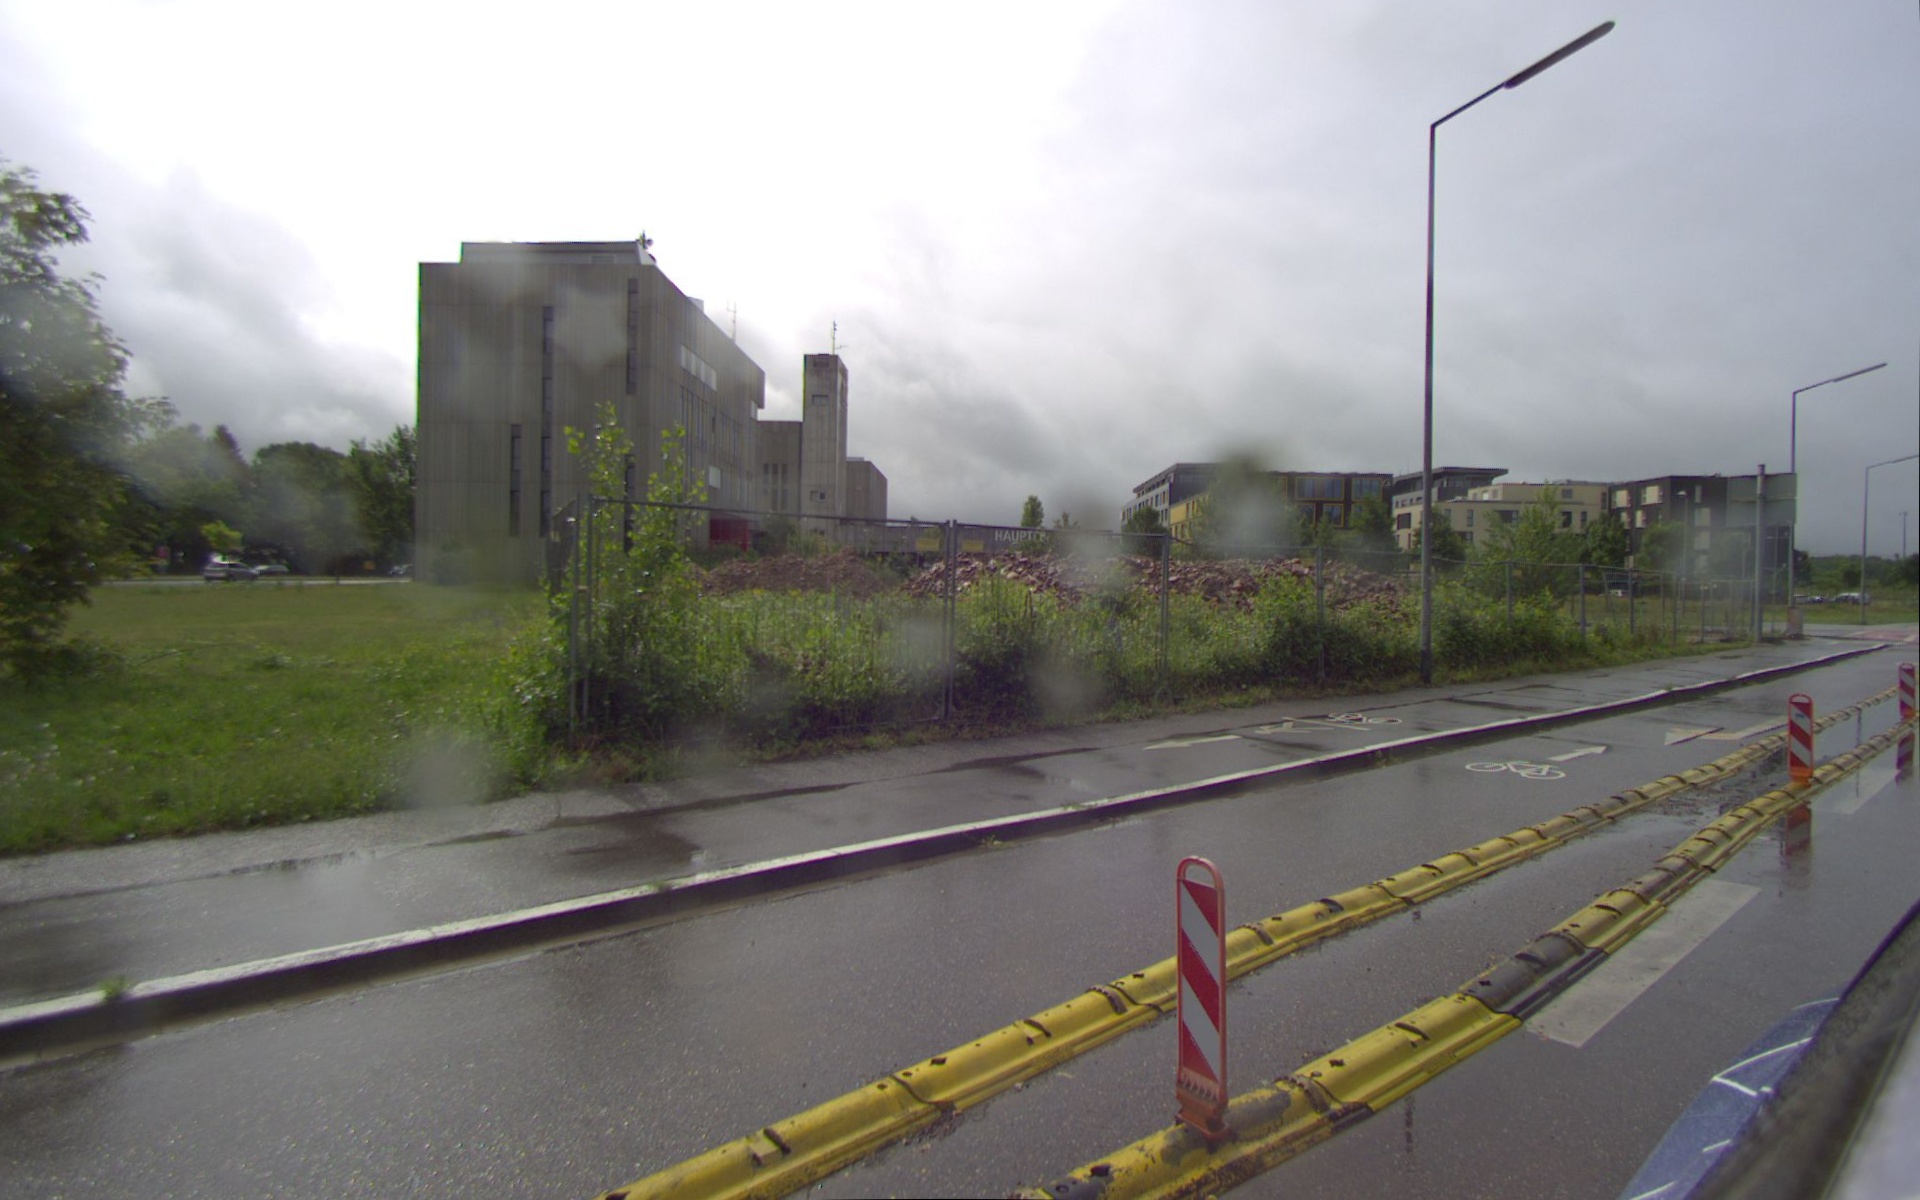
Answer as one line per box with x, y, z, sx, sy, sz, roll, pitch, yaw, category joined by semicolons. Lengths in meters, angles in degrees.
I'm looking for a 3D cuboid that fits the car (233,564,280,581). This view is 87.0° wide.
-68.587;-2.652;98.737;1.515;1.578;4.233;1;1;3;car

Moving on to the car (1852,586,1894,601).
127.430;-0.885;141.249;3.930;2.039;1.997;1;1;5;car

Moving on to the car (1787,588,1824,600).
116.892;-0.820;139.869;3.589;1.631;1.596;1;1;9;car

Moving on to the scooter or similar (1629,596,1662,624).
29.631;0.419;43.768;0.473;1.164;1.197;1;1;-8;scooter or similar

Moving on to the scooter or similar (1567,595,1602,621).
28.661;0.355;46.468;0.731;1.164;1.197;1;1;-8;scooter or similar

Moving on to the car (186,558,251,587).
-55.419;-2.042;75.729;1.962;2.039;4.000;1;1;1;car

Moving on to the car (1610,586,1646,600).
78.424;-0.843;118.829;3.591;1.603;1.652;0;1;-18;car
